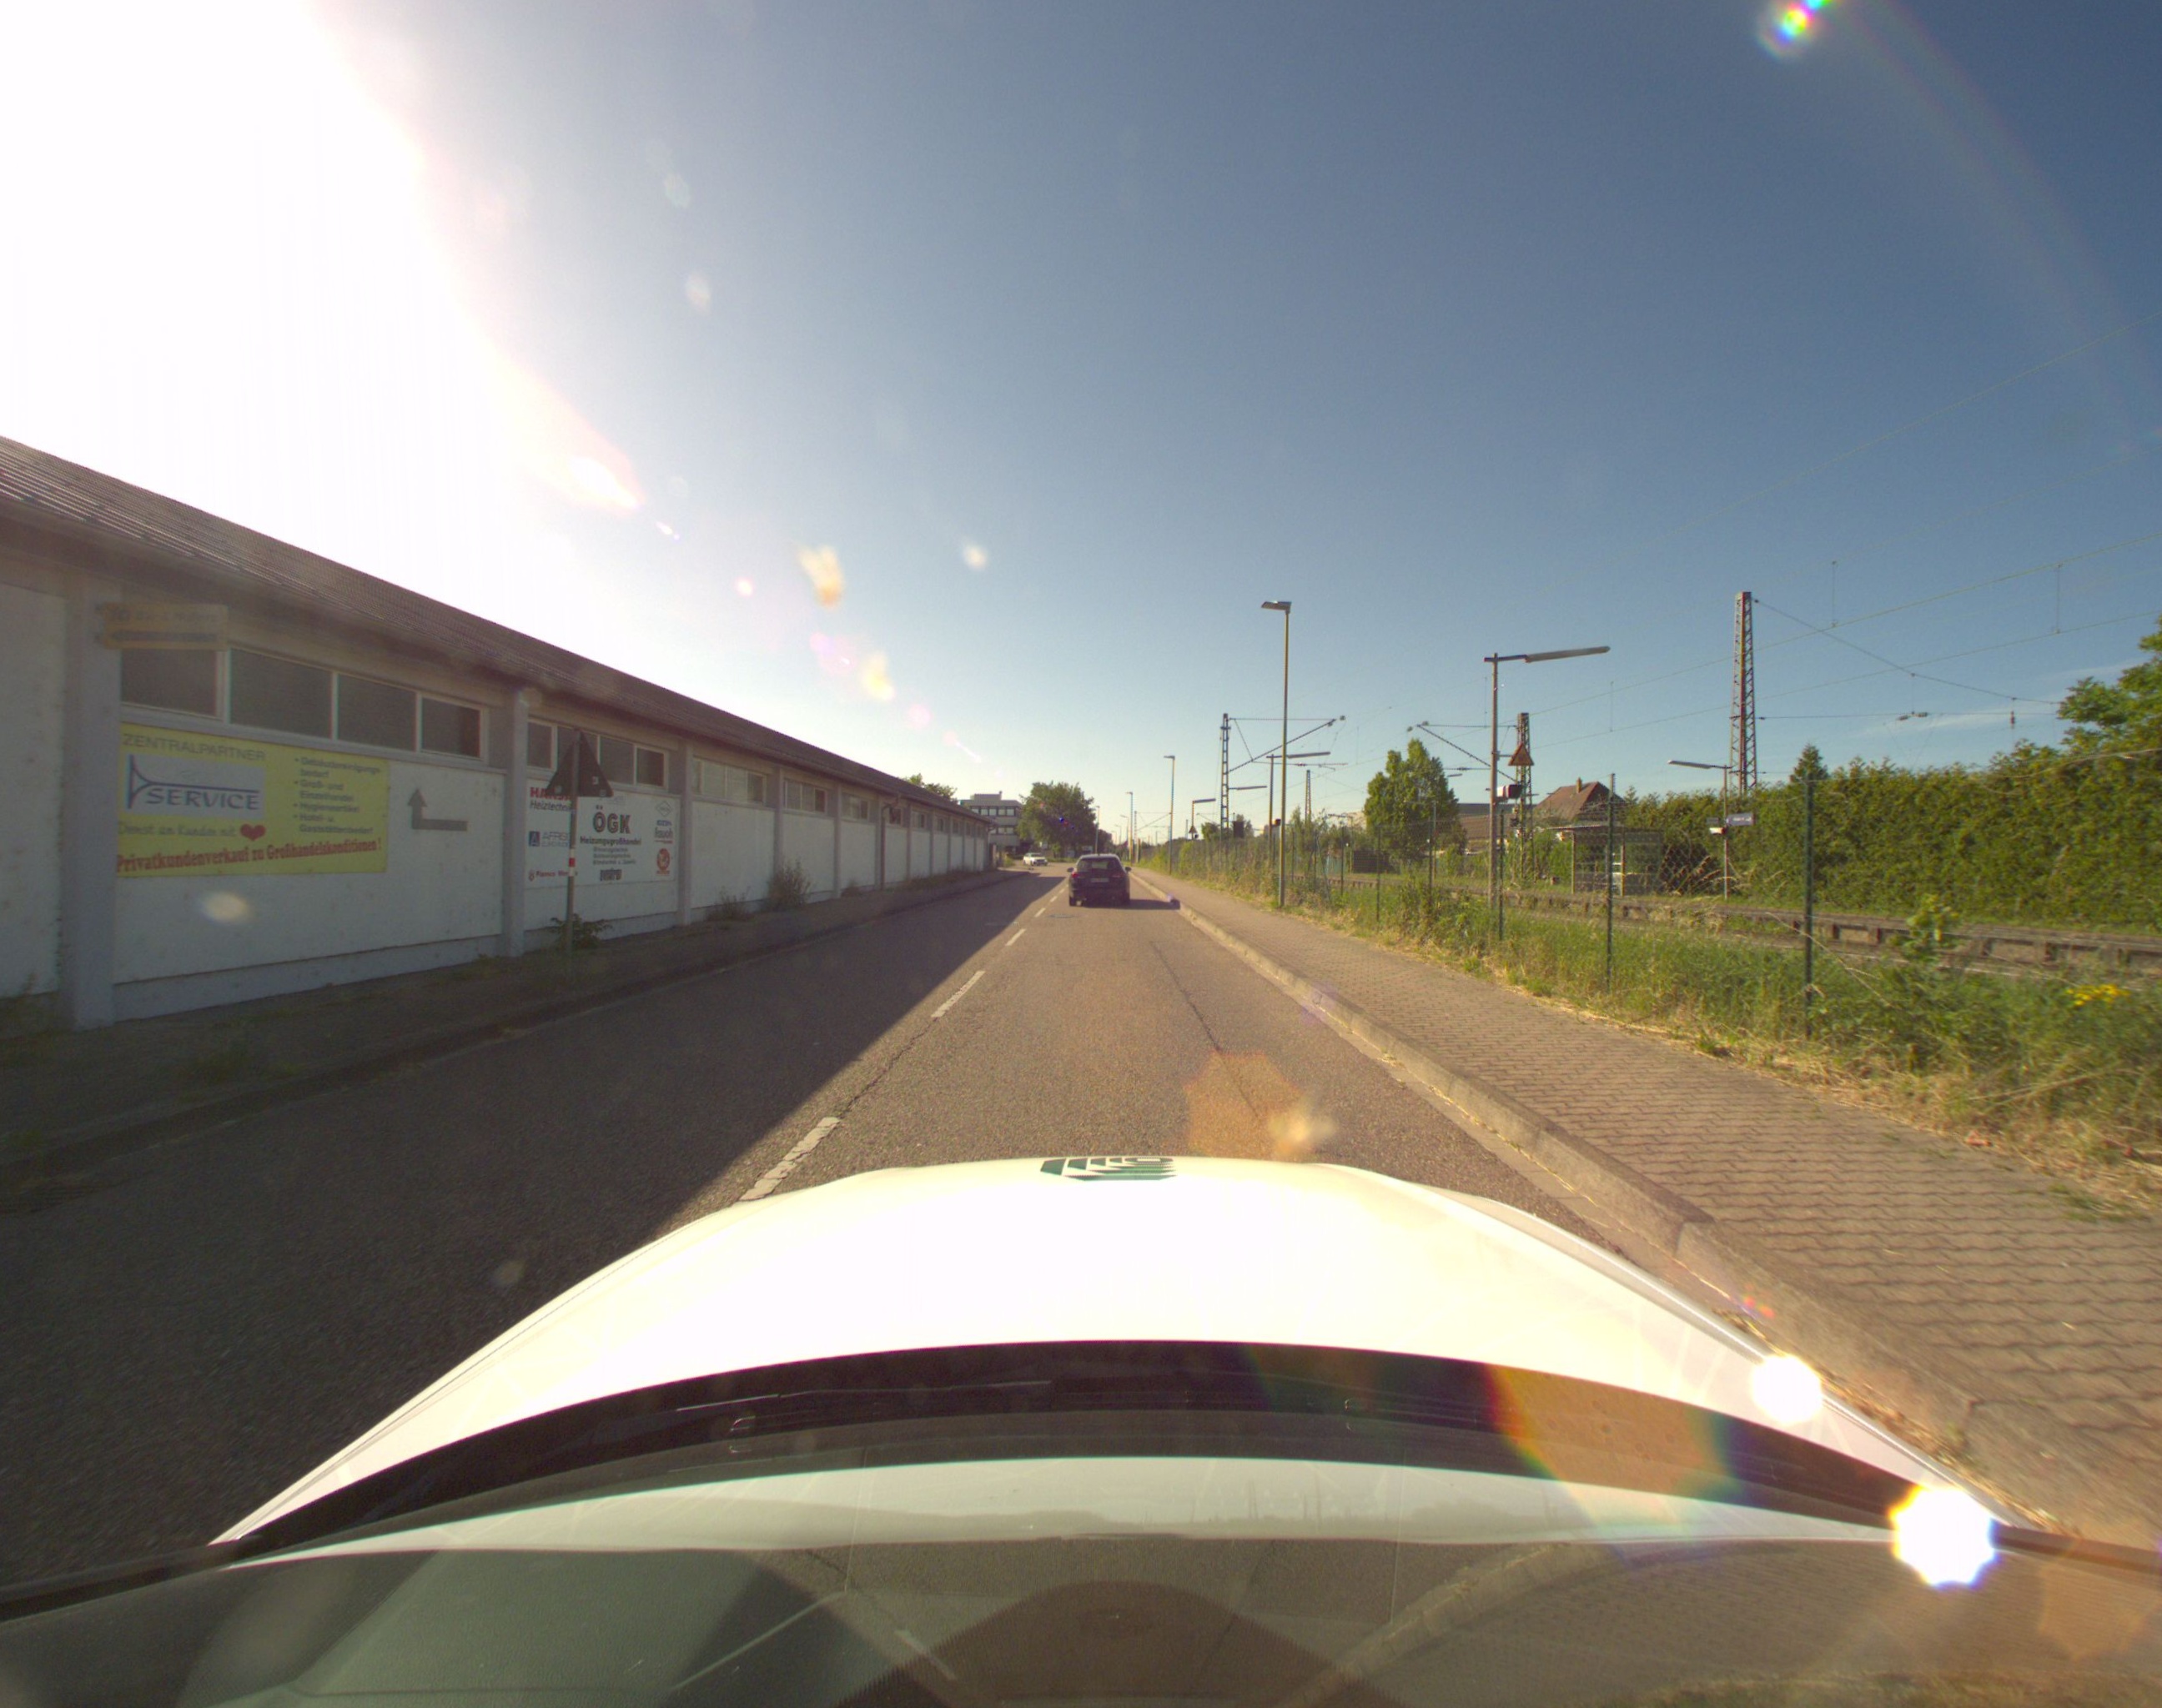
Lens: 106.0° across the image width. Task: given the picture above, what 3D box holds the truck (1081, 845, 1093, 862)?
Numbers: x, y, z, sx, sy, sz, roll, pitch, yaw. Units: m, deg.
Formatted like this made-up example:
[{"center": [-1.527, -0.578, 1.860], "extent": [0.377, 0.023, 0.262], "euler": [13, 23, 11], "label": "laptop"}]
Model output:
[{"center": [1.440, -0.185, 196.062], "extent": [2.605, 3.885, 13.527], "euler": [1, 0, -1], "label": "truck"}]

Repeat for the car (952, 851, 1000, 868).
[{"center": [-9.758, 0.502, 75.751], "extent": [4.388, 1.507, 1.835], "euler": [1, 0, -9], "label": "car"}]

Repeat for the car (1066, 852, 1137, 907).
[{"center": [0.594, 0.709, 24.644], "extent": [1.935, 1.489, 4.566], "euler": [-1, 0, 1], "label": "car"}]
